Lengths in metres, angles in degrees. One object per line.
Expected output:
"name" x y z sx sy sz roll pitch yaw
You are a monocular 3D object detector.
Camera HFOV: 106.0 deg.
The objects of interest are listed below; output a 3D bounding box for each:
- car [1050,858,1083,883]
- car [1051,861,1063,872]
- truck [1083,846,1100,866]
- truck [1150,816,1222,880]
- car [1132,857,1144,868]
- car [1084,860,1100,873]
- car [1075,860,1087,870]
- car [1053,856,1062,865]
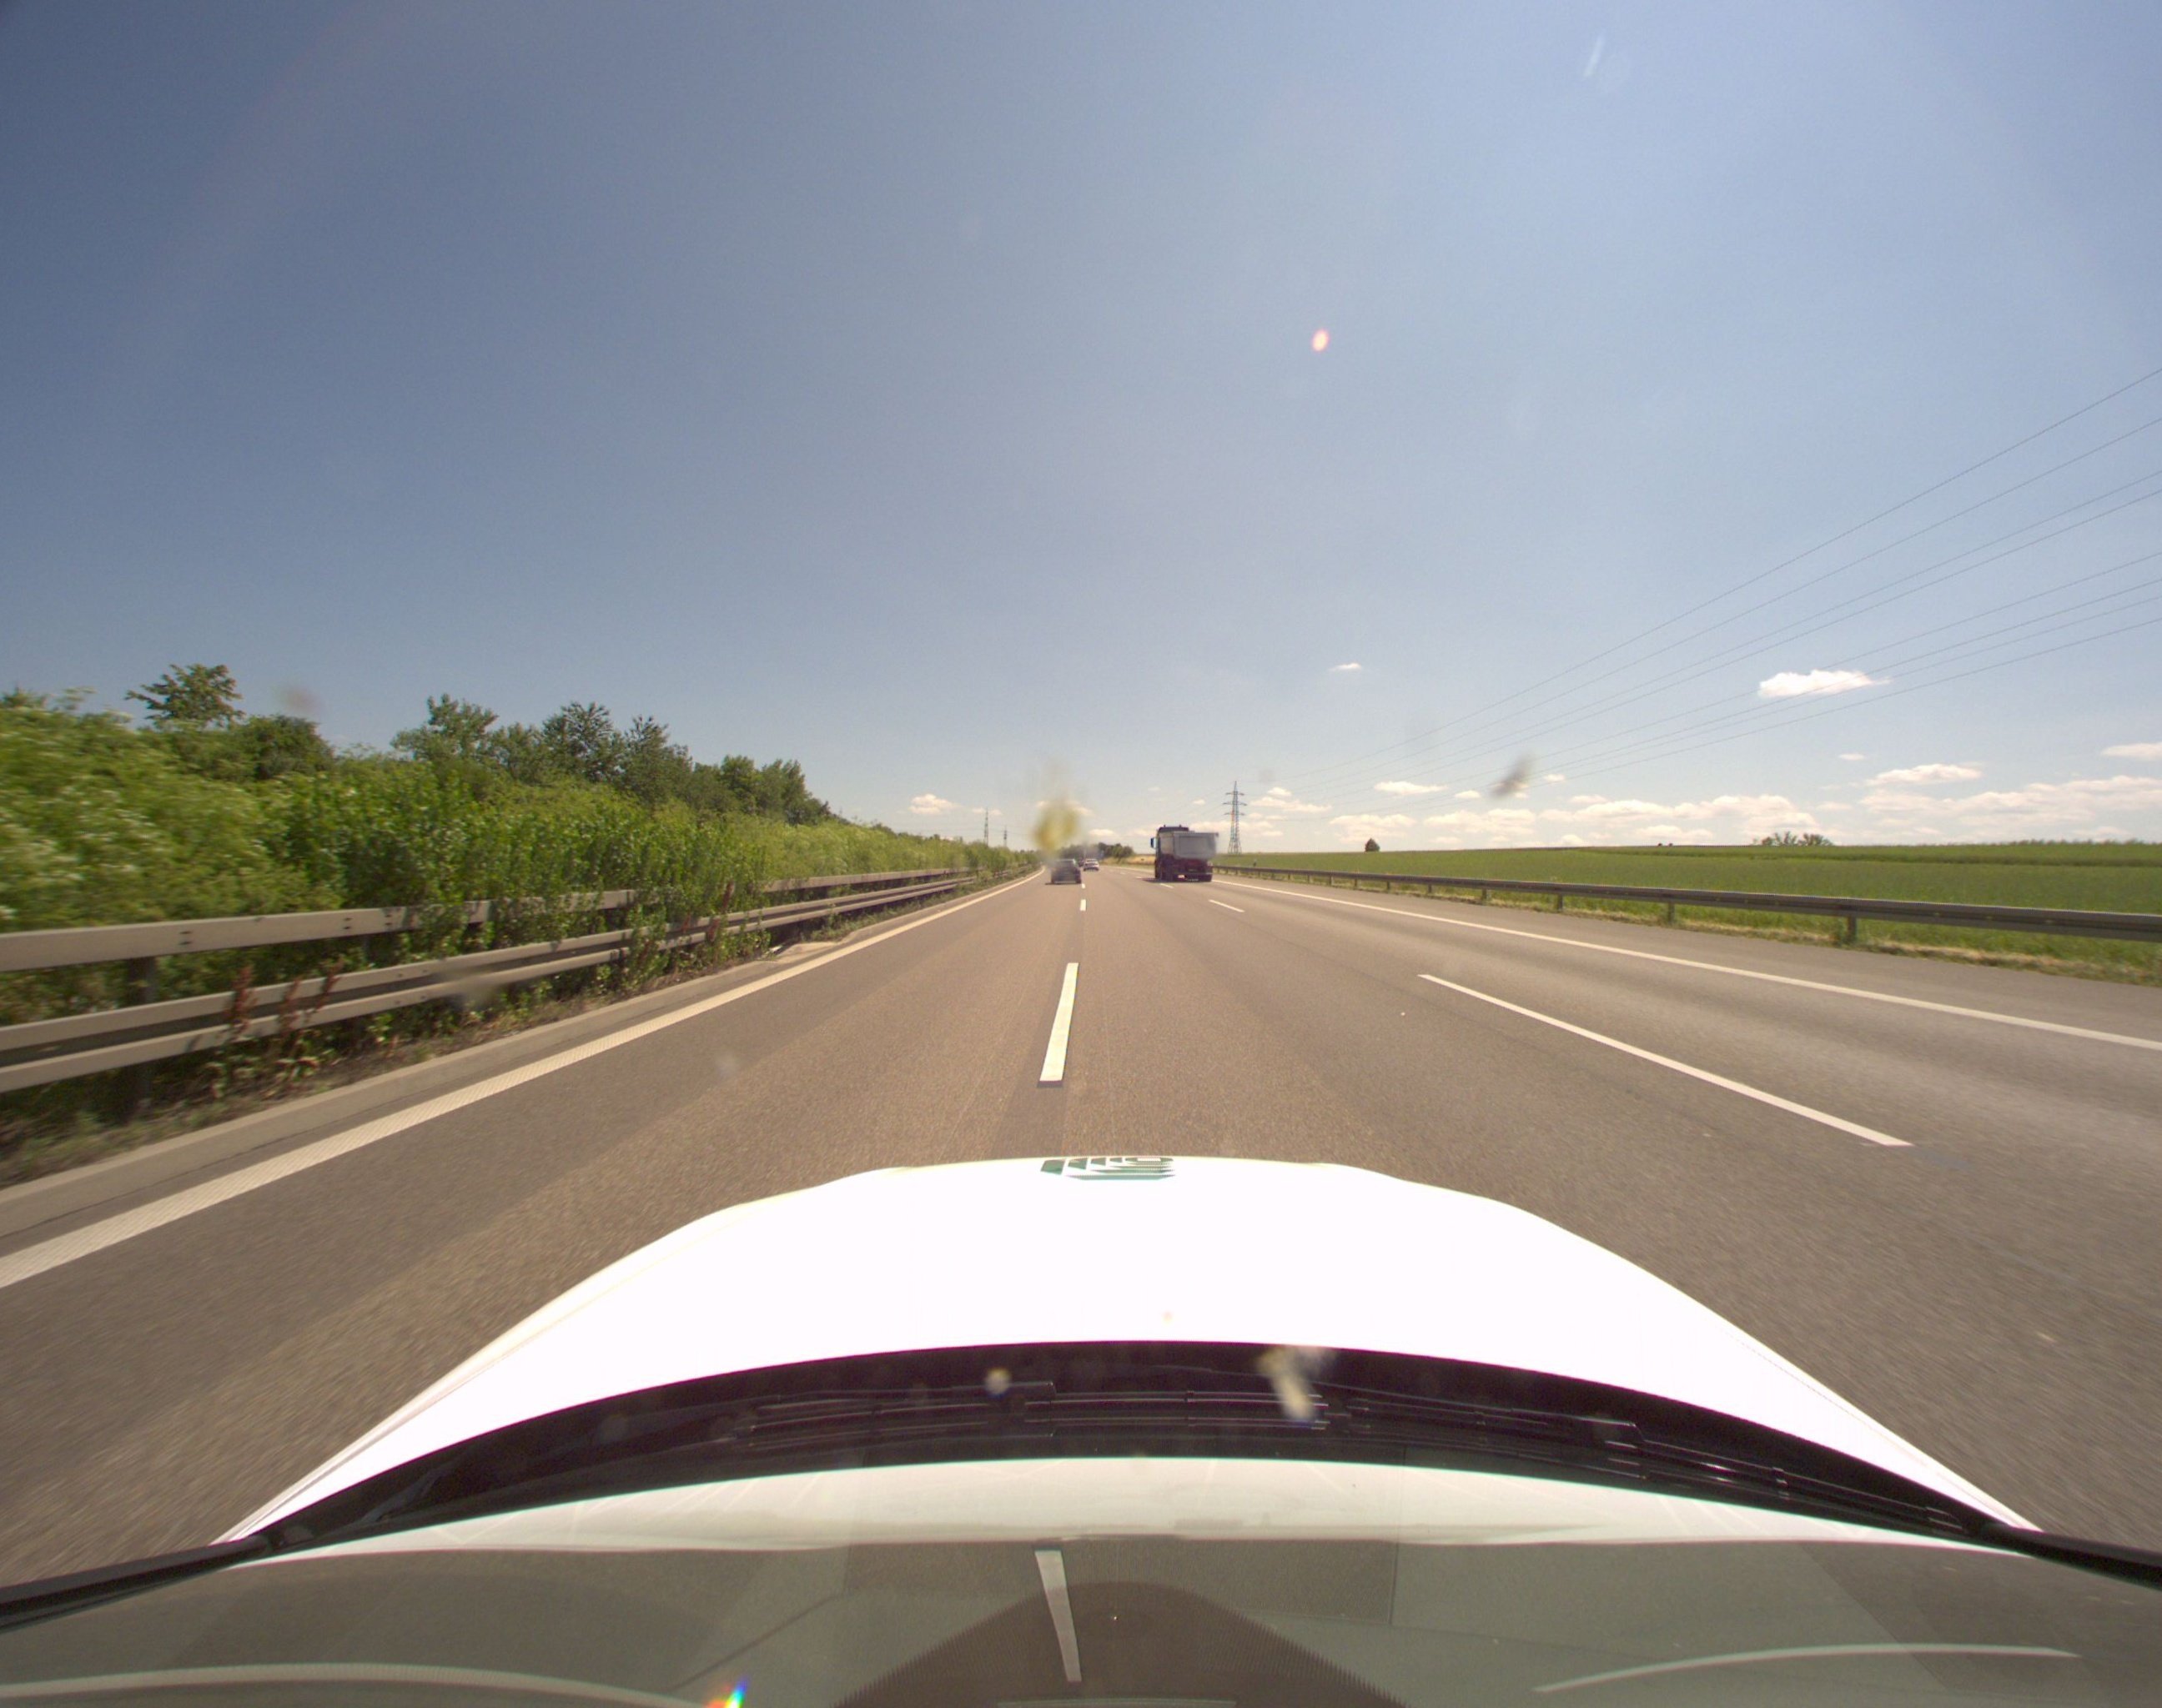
"car" -0.803 0.947 48.625 1.750 1.429 4.001 -1 -1 2
"car" -4.208 2.166 143.049 1.989 1.860 3.996 -1 -1 -3
"truck" 2.120 0.504 169.123 3.211 3.924 9.056 -1 -1 -1
"truck" 6.711 -0.308 54.327 2.857 3.724 12.755 -1 0 -1
"car" 9.771 1.385 140.076 1.986 1.853 4.001 -1 -1 2
"car" 1.317 1.519 98.245 1.813 1.541 3.915 -1 -1 1
"car" -0.016 1.872 138.711 1.833 1.541 3.912 -1 -1 -1
"car" -5.060 1.499 176.333 1.897 1.926 3.995 -1 -1 -3
